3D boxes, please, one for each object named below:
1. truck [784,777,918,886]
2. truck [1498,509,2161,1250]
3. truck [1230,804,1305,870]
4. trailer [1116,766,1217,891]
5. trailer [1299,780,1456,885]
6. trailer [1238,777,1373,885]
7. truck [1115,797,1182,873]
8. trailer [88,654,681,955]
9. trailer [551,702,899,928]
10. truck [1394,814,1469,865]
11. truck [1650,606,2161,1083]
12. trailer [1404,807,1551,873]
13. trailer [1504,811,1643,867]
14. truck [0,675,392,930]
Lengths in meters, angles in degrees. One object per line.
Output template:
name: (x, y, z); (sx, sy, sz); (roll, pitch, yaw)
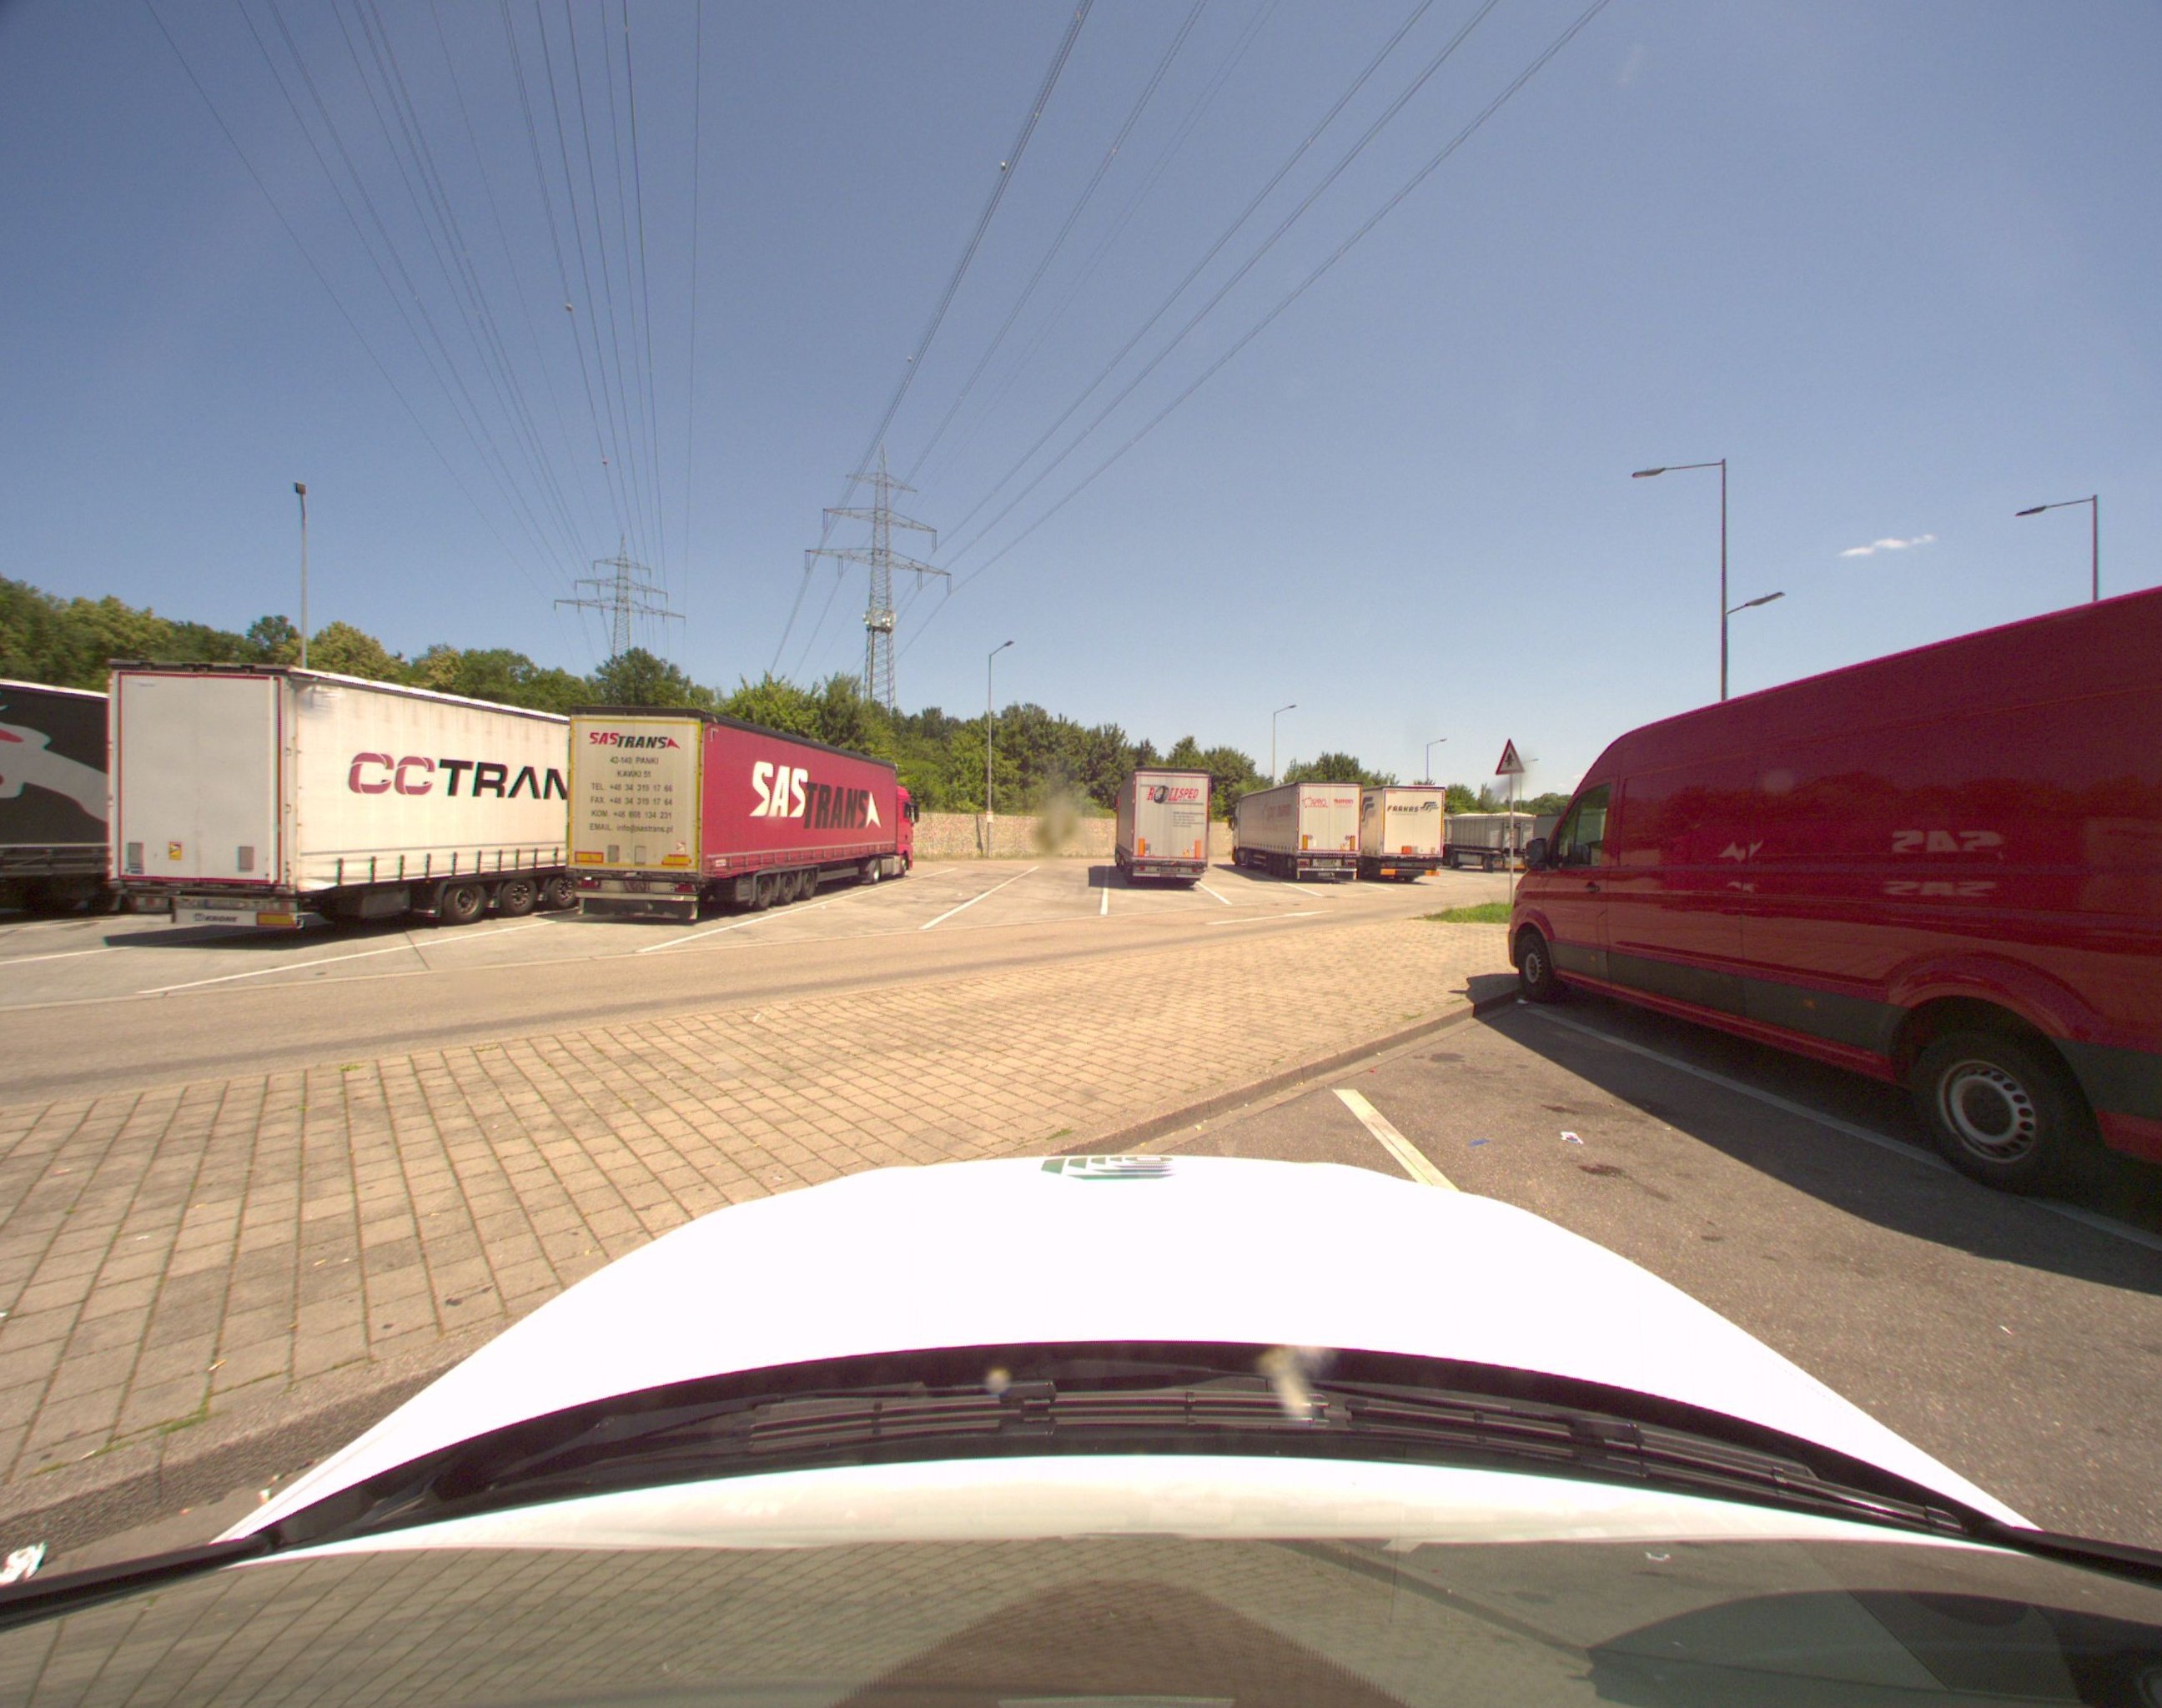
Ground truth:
truck: (-7.830, -0.790, 28.536); (2.801, 3.362, 5.977); (1, 2, 2)
truck: (5.144, 0.087, 5.444); (2.001, 2.651, 6.466); (-1, 0, 6)
truck: (10.181, -0.968, 45.056); (2.855, 3.362, 5.977); (1, 2, 2)
trailer: (3.051, -1.041, 33.201); (2.848, 3.971, 13.767); (1, 2, 1)
trailer: (13.611, -1.084, 39.216); (2.847, 4.109, 13.770); (1, 2, 2)
trailer: (9.983, -1.110, 38.292); (2.847, 4.109, 13.770); (1, 2, 2)
truck: (3.142, -0.931, 39.403); (2.855, 3.362, 5.977); (1, 2, 2)
trailer: (-12.159, -0.839, 16.415); (2.696, 4.101, 10.395); (1, 2, 2)
trailer: (-8.044, -0.923, 21.719); (2.811, 4.070, 13.770); (1, 2, 2)
truck: (24.630, -1.067, 57.587); (2.855, 3.362, 5.977); (1, 2, 2)
truck: (8.003, -0.063, 6.877); (2.406, 2.906, 6.466); (-1, 0, 6)
trailer: (24.444, -0.980, 51.490); (2.847, 3.599, 13.770); (1, 2, 2)
trailer: (38.224, -1.277, 64.172); (2.847, 3.904, 13.770); (1, 2, 2)
truck: (-18.547, -0.938, 15.822); (2.696, 4.070, 8.694); (1, 2, 2)
